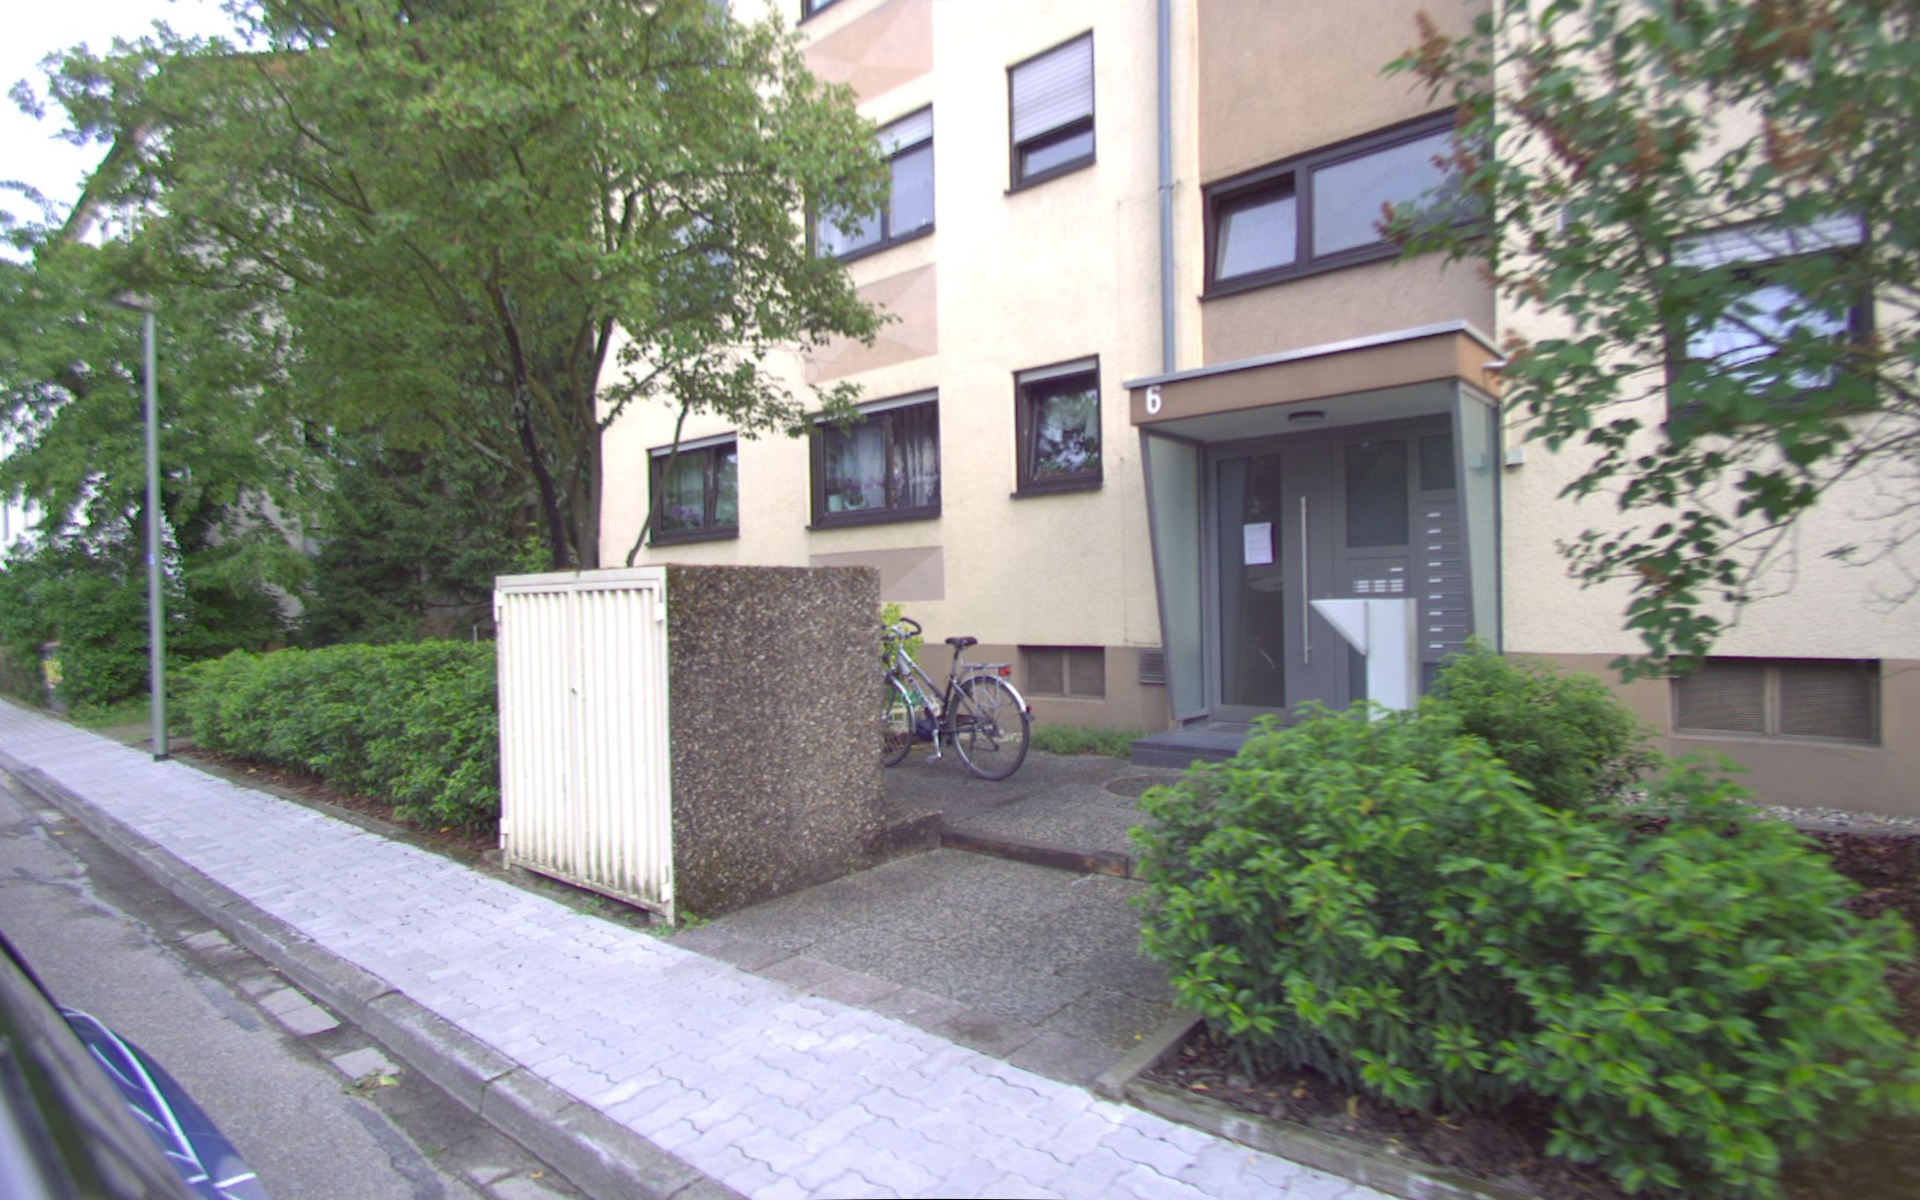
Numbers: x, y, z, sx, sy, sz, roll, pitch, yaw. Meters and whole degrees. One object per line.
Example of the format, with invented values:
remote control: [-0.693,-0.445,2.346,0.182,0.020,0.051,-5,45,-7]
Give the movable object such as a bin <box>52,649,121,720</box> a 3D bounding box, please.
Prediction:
movable object such as a bin: [-13.092,1.258,15.176,0.533,1.030,0.592,-1,-3,21]

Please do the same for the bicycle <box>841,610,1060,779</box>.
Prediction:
bicycle: [-0.114,0.641,7.051,1.689,1.059,0.312,-4,-3,40]

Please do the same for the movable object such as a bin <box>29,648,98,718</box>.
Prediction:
movable object such as a bin: [-13.670,1.254,15.444,0.533,1.030,0.592,-1,-3,21]
